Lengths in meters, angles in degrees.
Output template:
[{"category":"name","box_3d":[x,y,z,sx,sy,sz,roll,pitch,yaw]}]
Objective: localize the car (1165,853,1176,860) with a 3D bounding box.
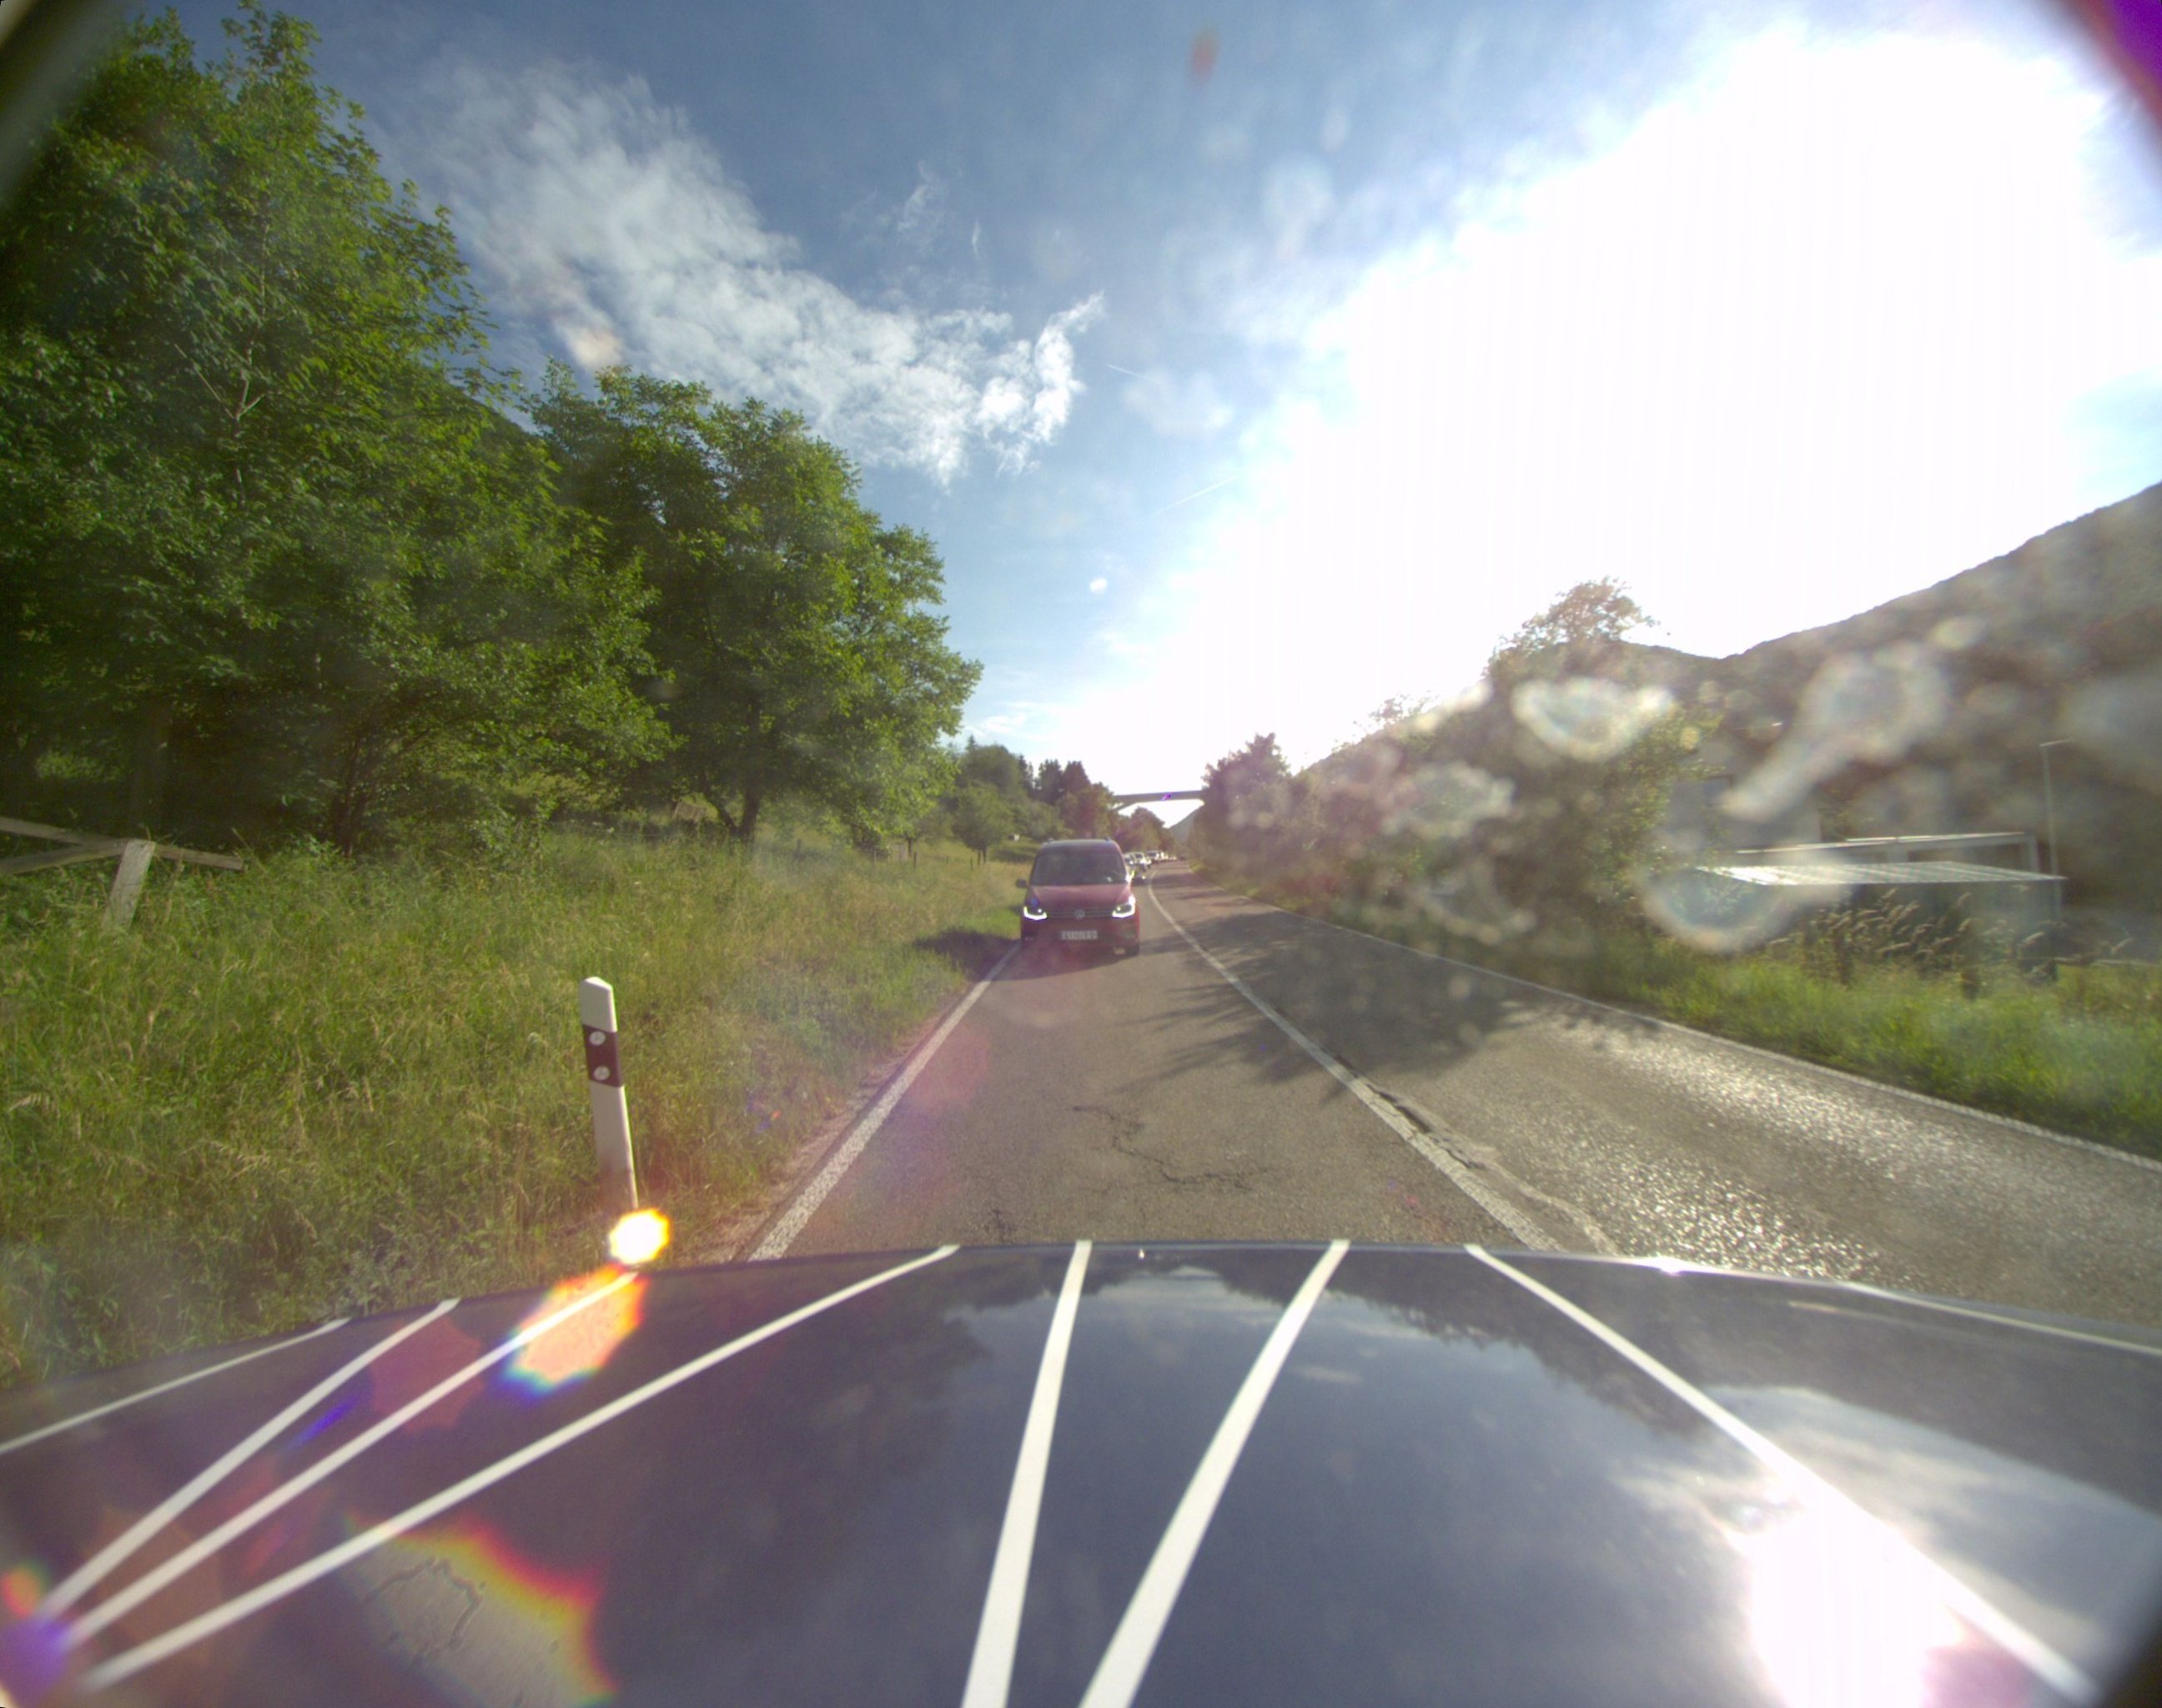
[{"category":"car","box_3d":[18.904,0.500,159.729,1.840,1.543,4.181,-1,0,12]}]

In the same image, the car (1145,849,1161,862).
[{"category":"car","box_3d":[9.361,0.131,98.318,1.817,1.608,4.002,-1,0,9]}]

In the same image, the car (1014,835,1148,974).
[{"category":"car","box_3d":[0.031,0.686,12.390,1.772,1.855,3.875,-2,0,1]}]

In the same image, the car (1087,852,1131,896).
[{"category":"car","box_3d":[1.125,0.743,29.282,1.571,1.575,3.527,-1,0,4]}]

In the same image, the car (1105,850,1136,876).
[{"category":"car","box_3d":[2.472,0.532,47.348,1.841,1.543,4.178,-1,0,4]}]

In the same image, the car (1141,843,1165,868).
[{"category":"car","box_3d":[5.940,0.136,62.602,1.914,2.001,4.002,-1,-1,6]}]

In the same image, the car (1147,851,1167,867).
[{"category":"car","box_3d":[7.416,0.445,73.899,1.841,1.543,4.179,-1,0,5]}]

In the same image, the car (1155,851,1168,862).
[{"category":"car","box_3d":[11.983,0.364,112.875,1.817,1.608,4.002,-1,0,8]}]

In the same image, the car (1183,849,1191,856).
[{"category":"car","box_3d":[25.975,-0.294,187.043,1.818,1.608,3.807,-1,0,6]}]
